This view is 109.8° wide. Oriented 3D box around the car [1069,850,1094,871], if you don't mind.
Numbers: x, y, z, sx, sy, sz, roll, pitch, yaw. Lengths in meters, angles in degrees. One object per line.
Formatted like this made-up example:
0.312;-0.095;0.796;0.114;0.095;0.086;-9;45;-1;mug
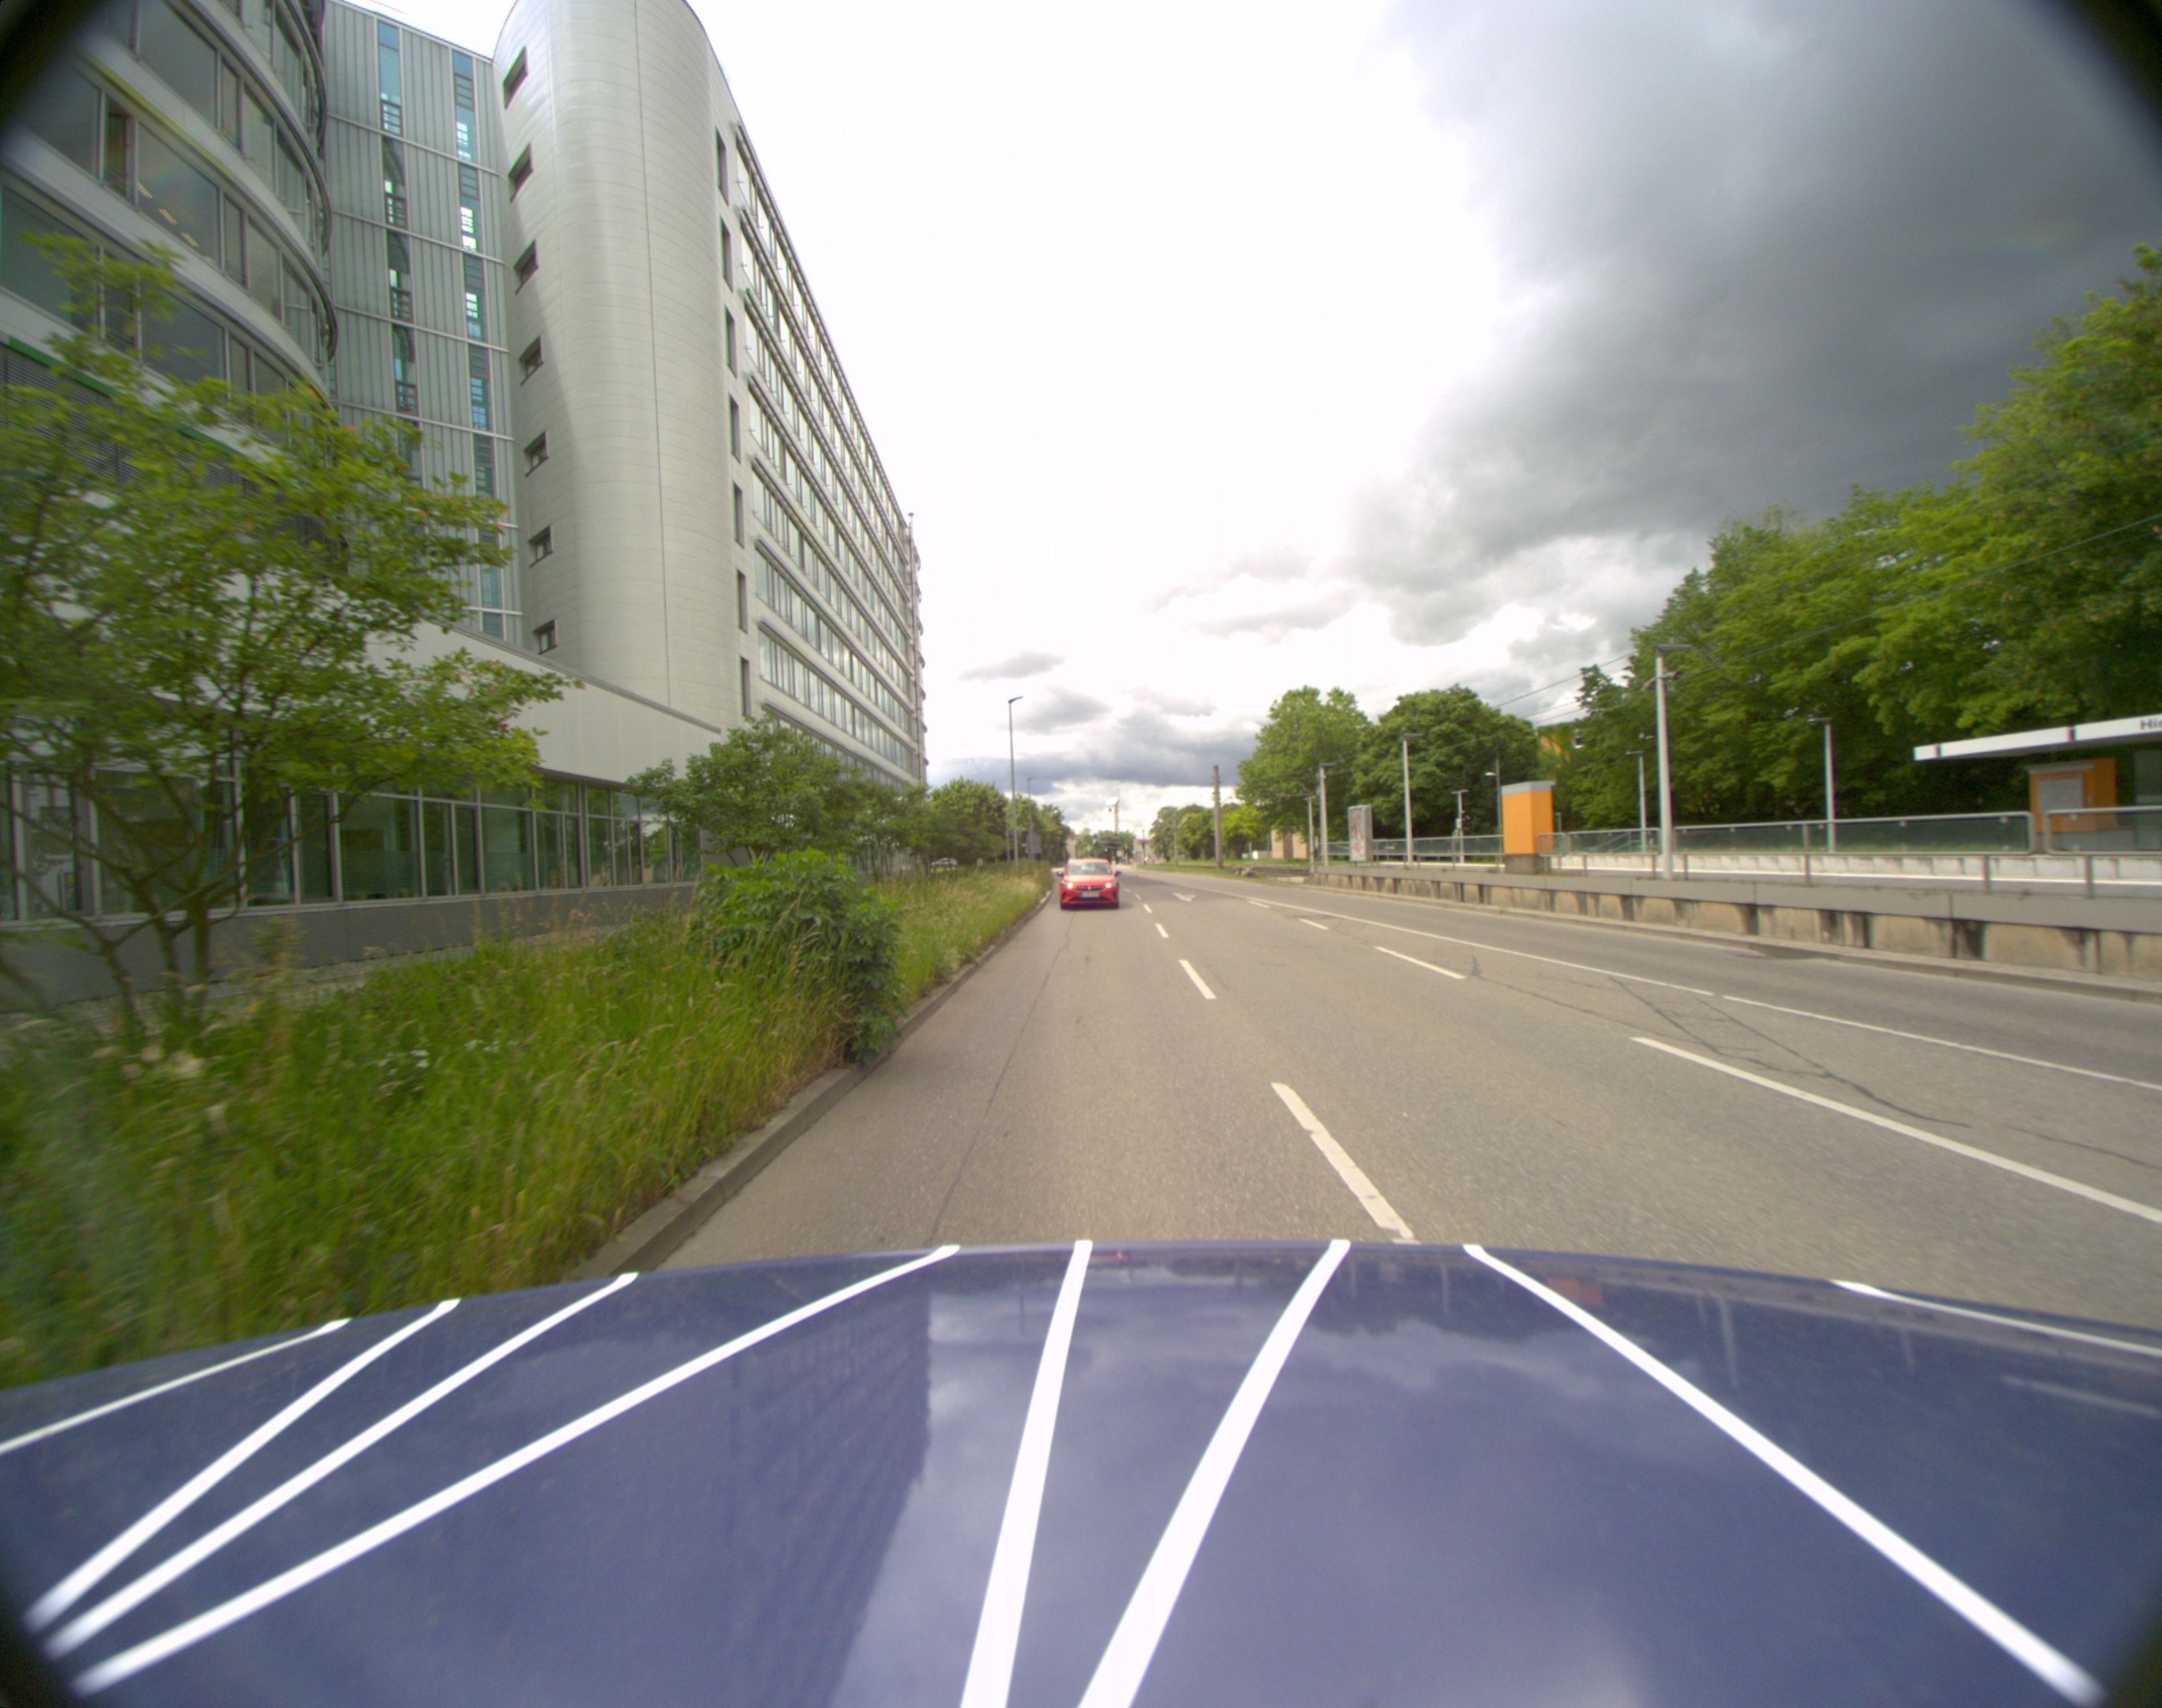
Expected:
0.087;0.493;60.356;1.841;1.586;4.000;-2;0;1;car

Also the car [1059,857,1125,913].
0.297;0.876;23.751;1.790;1.453;4.852;-2;0;0;car
